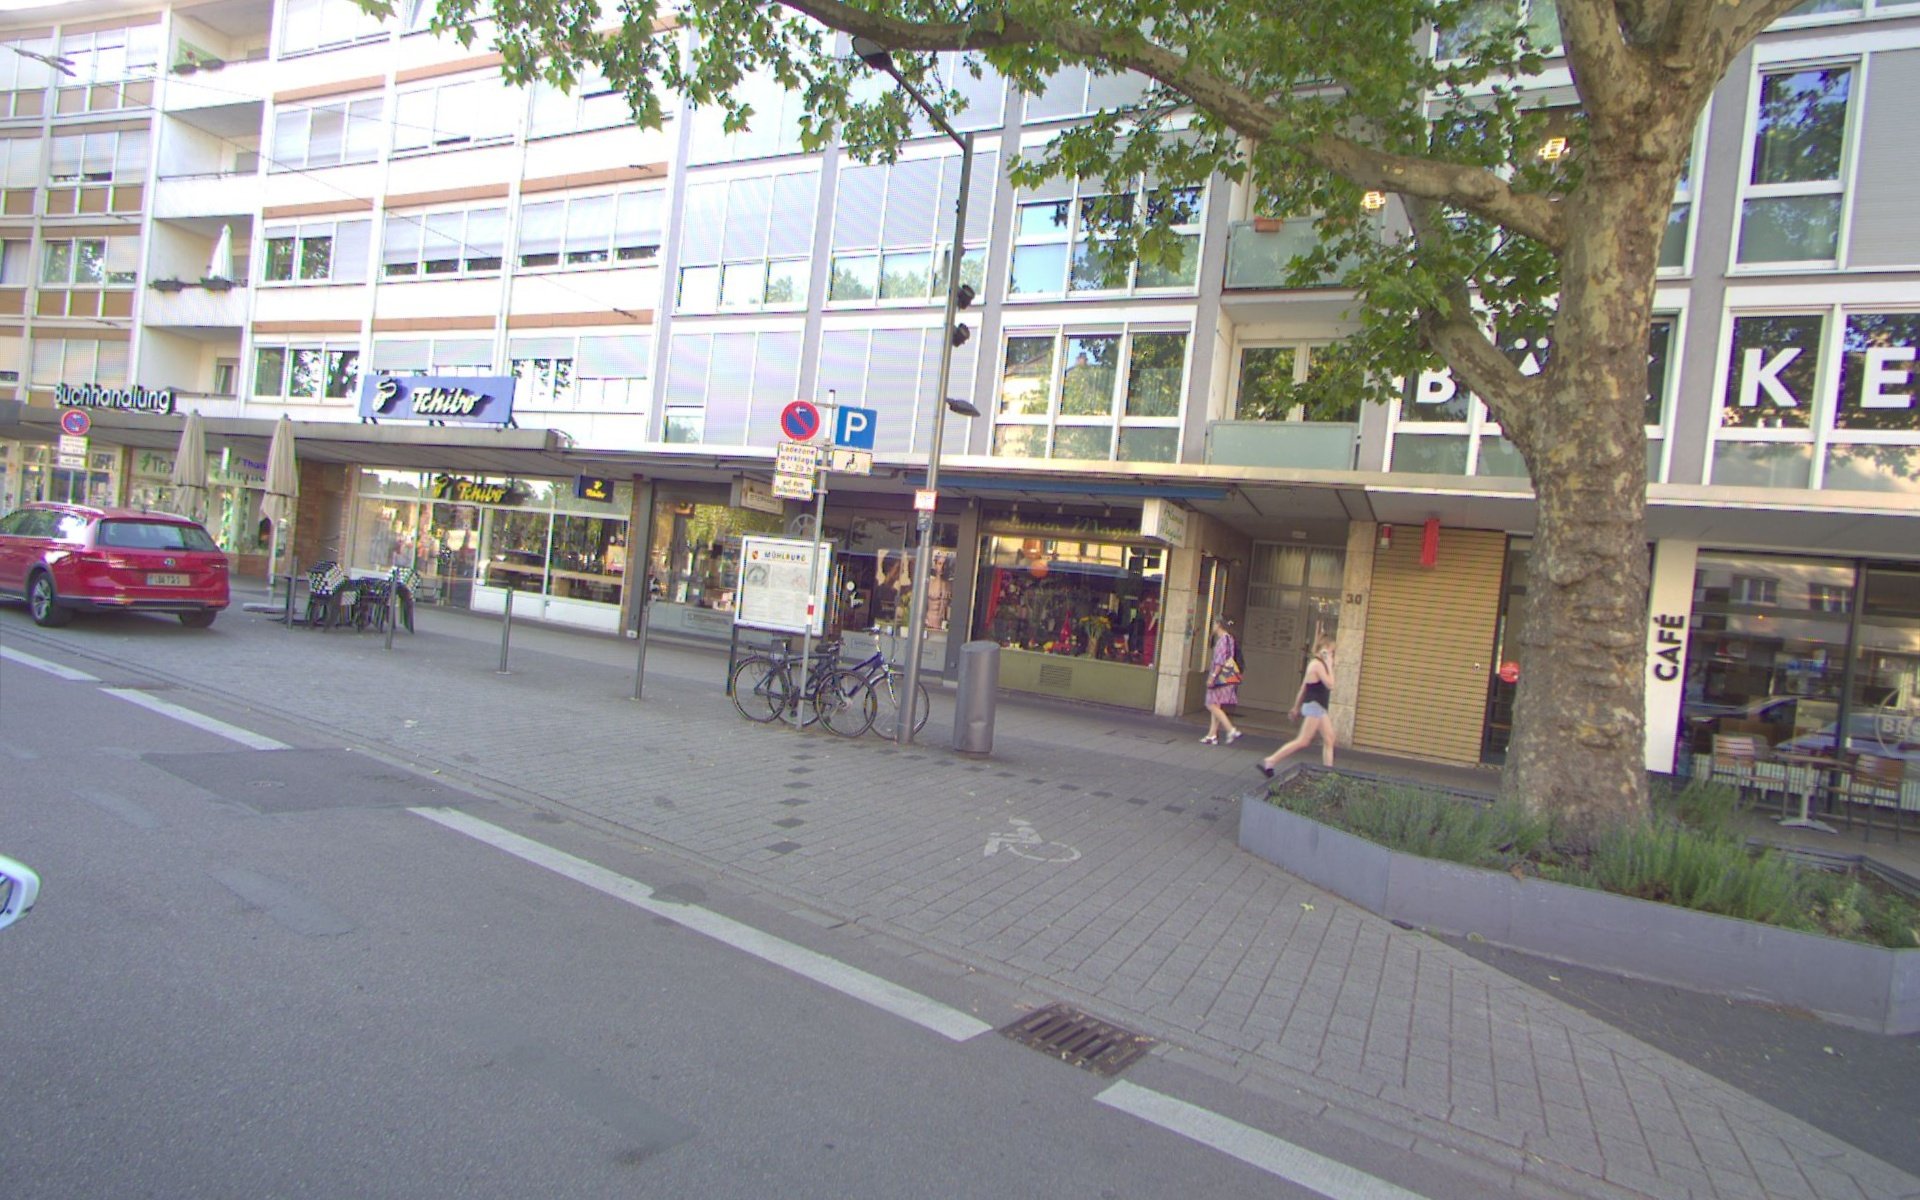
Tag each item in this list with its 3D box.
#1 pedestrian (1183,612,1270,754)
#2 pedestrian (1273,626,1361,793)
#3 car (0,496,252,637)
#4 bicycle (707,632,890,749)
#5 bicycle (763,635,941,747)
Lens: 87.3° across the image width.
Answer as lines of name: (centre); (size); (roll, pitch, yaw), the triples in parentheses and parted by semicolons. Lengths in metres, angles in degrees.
pedestrian: (3.291, 0.997, 12.401); (0.776, 1.613, 0.651); (7, 3, 26)
pedestrian: (3.680, 1.101, 10.344); (0.631, 1.596, 0.560); (7, 1, 26)
car: (-11.632, -0.498, 13.450); (4.229, 1.502, 1.772); (6, 1, 28)
bicycle: (-1.642, 0.897, 10.237); (1.743, 0.951, 0.391); (6, 2, 12)
bicycle: (-1.133, 0.939, 10.553); (1.743, 0.931, 0.391); (6, 2, 12)
